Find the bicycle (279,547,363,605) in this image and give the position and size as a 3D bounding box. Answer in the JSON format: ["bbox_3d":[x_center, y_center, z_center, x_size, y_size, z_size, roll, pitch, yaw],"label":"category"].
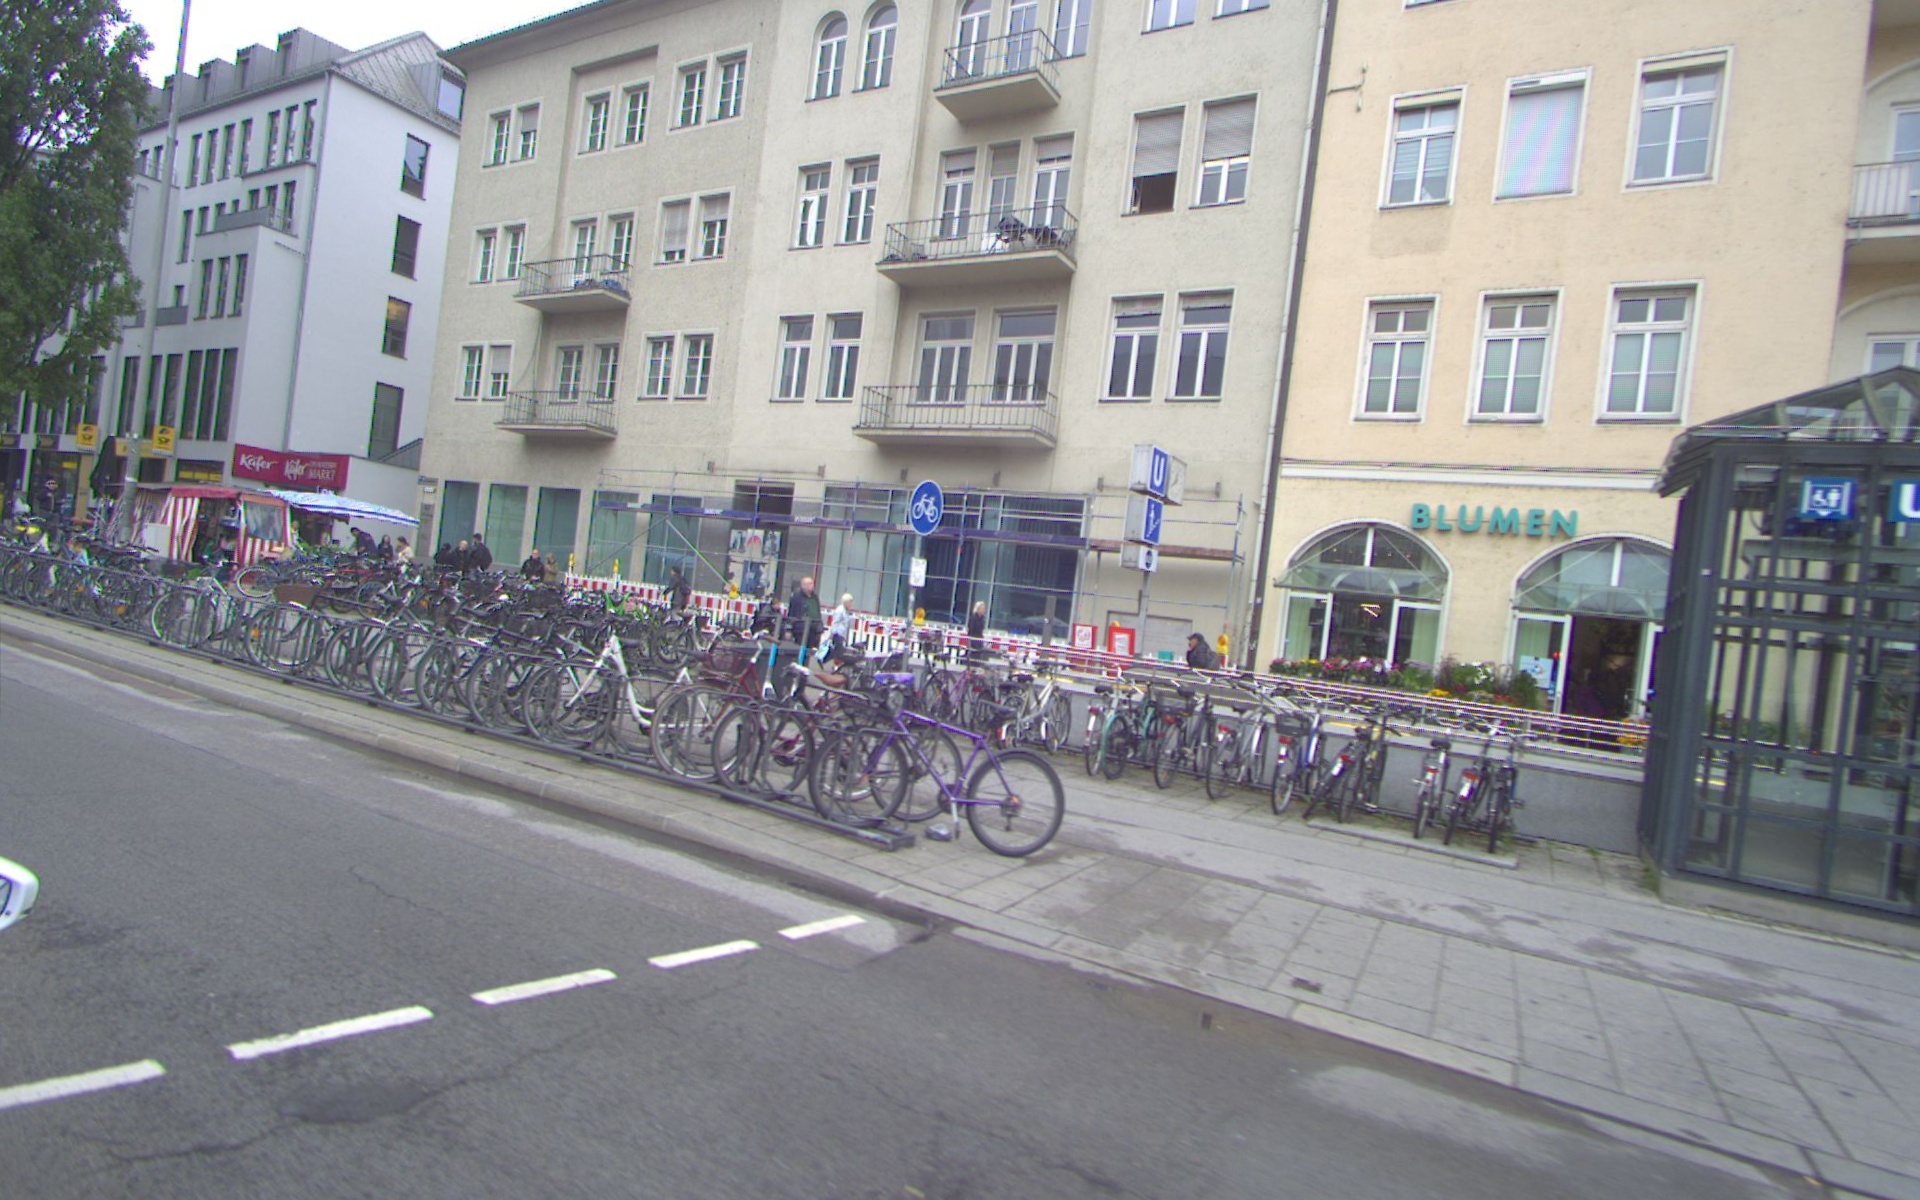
[{"bbox_3d":[-12.385,-0.462,19.518,0.363,0.975,1.262,8,0,34],"label":"bicycle"}]

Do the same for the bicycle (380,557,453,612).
[{"bbox_3d":[-10.855,-0.296,20.139,0.362,0.993,1.247,7,0,23],"label":"bicycle"}]

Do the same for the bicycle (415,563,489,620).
[{"bbox_3d":[-9.811,-0.151,19.471,0.362,0.993,1.247,7,0,23],"label":"bicycle"}]

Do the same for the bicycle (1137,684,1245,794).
[{"bbox_3d":[2.462,1.409,10.568,0.500,0.976,1.841,7,0,29],"label":"bicycle"}]

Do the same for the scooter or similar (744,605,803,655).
[{"bbox_3d":[-4.114,0.670,22.159,1.106,0.956,0.535,7,2,30],"label":"scooter or similar"}]

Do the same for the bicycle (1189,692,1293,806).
[{"bbox_3d":[2.902,1.469,10.264,0.500,0.976,1.841,7,0,29],"label":"bicycle"}]

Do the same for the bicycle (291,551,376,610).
[{"bbox_3d":[-11.985,-0.367,19.276,0.364,0.975,1.259,8,0,40],"label":"bicycle"}]

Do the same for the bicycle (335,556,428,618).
[{"bbox_3d":[-10.379,-0.223,18.094,0.363,0.975,1.405,7,0,26],"label":"bicycle"}]

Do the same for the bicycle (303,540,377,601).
[{"bbox_3d":[-13.269,-0.624,21.561,0.363,1.154,1.246,7,0,29],"label":"bicycle"}]

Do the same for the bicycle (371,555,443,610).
[{"bbox_3d":[-11.235,-0.339,20.458,0.362,0.993,1.247,7,0,23],"label":"bicycle"}]

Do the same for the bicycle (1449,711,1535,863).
[{"bbox_3d":[4.818,1.616,9.074,0.500,1.107,1.841,7,0,29],"label":"bicycle"}]

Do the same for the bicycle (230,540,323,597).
[{"bbox_3d":[-13.688,-0.622,20.177,0.363,0.975,1.431,8,0,37],"label":"bicycle"}]

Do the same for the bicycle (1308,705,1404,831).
[{"bbox_3d":[3.811,1.548,9.608,0.500,0.976,1.841,7,0,29],"label":"bicycle"}]

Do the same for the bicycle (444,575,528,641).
[{"bbox_3d":[-7.836,0.139,16.653,0.363,0.975,1.133,8,0,37],"label":"bicycle"}]

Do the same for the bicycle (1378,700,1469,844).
[{"bbox_3d":[4.337,1.534,9.344,0.500,1.107,1.841,7,0,29],"label":"bicycle"}]

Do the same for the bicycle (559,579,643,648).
[{"bbox_3d":[-6.214,0.256,17.480,0.362,1.088,1.430,7,0,25],"label":"bicycle"}]

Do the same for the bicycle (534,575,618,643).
[{"bbox_3d":[-6.747,0.187,17.718,0.362,1.088,1.430,7,0,25],"label":"bicycle"}]

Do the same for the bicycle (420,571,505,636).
[{"bbox_3d":[-8.381,0.064,16.979,0.363,0.975,1.181,8,0,35],"label":"bicycle"}]

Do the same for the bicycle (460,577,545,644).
[{"bbox_3d":[-7.461,0.186,16.442,0.363,0.975,1.133,8,0,37],"label":"bicycle"}]

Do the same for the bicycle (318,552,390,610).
[{"bbox_3d":[-11.325,-0.338,18.835,0.362,0.975,1.229,7,0,10],"label":"bicycle"}]

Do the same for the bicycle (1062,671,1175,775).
[{"bbox_3d":[1.762,1.300,10.966,0.500,0.976,1.841,7,0,29],"label":"bicycle"}]

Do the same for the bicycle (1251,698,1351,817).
[{"bbox_3d":[3.402,1.501,9.939,0.500,0.976,1.841,7,0,29],"label":"bicycle"}]

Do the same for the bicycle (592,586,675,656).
[{"bbox_3d":[-5.529,0.378,17.130,0.362,1.088,1.430,7,0,25],"label":"bicycle"}]

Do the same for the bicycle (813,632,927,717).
[{"bbox_3d":[-1.109,0.952,12.829,0.363,0.976,1.756,8,0,32],"label":"bicycle"}]

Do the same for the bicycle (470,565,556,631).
[{"bbox_3d":[-8.252,-0.012,18.628,0.362,1.088,1.504,7,0,25],"label":"bicycle"}]

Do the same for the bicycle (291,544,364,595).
[{"bbox_3d":[-13.817,-0.651,21.991,0.363,0.975,1.246,7,0,29],"label":"bicycle"}]

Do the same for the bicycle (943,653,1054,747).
[{"bbox_3d":[0.488,1.158,11.853,0.445,0.976,1.757,7,0,29],"label":"bicycle"}]

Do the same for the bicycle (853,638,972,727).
[{"bbox_3d":[-0.551,1.025,12.443,0.445,0.976,1.756,7,0,32],"label":"bicycle"}]

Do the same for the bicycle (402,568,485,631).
[{"bbox_3d":[-8.836,0.008,17.253,0.363,0.975,1.183,7,0,29],"label":"bicycle"}]

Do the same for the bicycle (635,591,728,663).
[{"bbox_3d":[-4.598,0.464,16.684,0.443,1.088,1.553,7,0,27],"label":"bicycle"}]

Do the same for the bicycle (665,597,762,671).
[{"bbox_3d":[-4.011,0.581,16.475,0.444,1.088,1.551,8,0,32],"label":"bicycle"}]

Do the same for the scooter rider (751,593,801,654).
[{"bbox_3d":[-4.045,0.526,22.126,0.707,1.235,0.686,8,2,30],"label":"scooter rider"}]

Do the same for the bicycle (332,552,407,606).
[{"bbox_3d":[-12.284,-0.429,20.958,0.363,0.993,1.246,7,0,29],"label":"bicycle"}]

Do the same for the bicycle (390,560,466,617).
[{"bbox_3d":[-10.407,-0.209,19.716,0.363,0.993,1.246,7,0,28],"label":"bicycle"}]

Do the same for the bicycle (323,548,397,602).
[{"bbox_3d":[-12.712,-0.523,21.331,0.363,0.993,1.246,7,0,29],"label":"bicycle"}]

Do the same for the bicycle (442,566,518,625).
[{"bbox_3d":[-8.912,-0.069,18.717,0.362,0.993,1.247,7,0,25],"label":"bicycle"}]

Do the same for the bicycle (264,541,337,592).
[{"bbox_3d":[-14.402,-0.715,21.991,0.363,0.975,1.246,7,0,29],"label":"bicycle"}]

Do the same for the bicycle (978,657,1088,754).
[{"bbox_3d":[0.872,1.185,11.530,0.445,0.976,1.757,7,0,29],"label":"bicycle"}]

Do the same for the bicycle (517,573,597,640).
[{"bbox_3d":[-7.205,0.132,18.029,0.362,1.088,1.331,7,0,25],"label":"bicycle"}]

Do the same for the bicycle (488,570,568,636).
[{"bbox_3d":[-7.767,0.075,18.139,0.362,1.088,1.331,7,0,25],"label":"bicycle"}]

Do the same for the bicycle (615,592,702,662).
[{"bbox_3d":[-5.055,0.479,16.943,0.362,1.088,1.554,7,0,25],"label":"bicycle"}]

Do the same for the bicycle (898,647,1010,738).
[{"bbox_3d":[-0.040,1.107,12.236,0.445,0.976,1.757,7,0,29],"label":"bicycle"}]

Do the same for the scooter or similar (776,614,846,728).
[{"bbox_3d":[-1.798,0.822,12.015,0.298,1.190,1.268,6,1,-28],"label":"scooter or similar"}]

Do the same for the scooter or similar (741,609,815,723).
[{"bbox_3d":[-2.195,0.764,12.038,0.360,1.190,1.337,6,1,-28],"label":"scooter or similar"}]

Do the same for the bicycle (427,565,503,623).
[{"bbox_3d":[-9.381,-0.102,19.107,0.362,0.993,1.247,7,0,25],"label":"bicycle"}]
